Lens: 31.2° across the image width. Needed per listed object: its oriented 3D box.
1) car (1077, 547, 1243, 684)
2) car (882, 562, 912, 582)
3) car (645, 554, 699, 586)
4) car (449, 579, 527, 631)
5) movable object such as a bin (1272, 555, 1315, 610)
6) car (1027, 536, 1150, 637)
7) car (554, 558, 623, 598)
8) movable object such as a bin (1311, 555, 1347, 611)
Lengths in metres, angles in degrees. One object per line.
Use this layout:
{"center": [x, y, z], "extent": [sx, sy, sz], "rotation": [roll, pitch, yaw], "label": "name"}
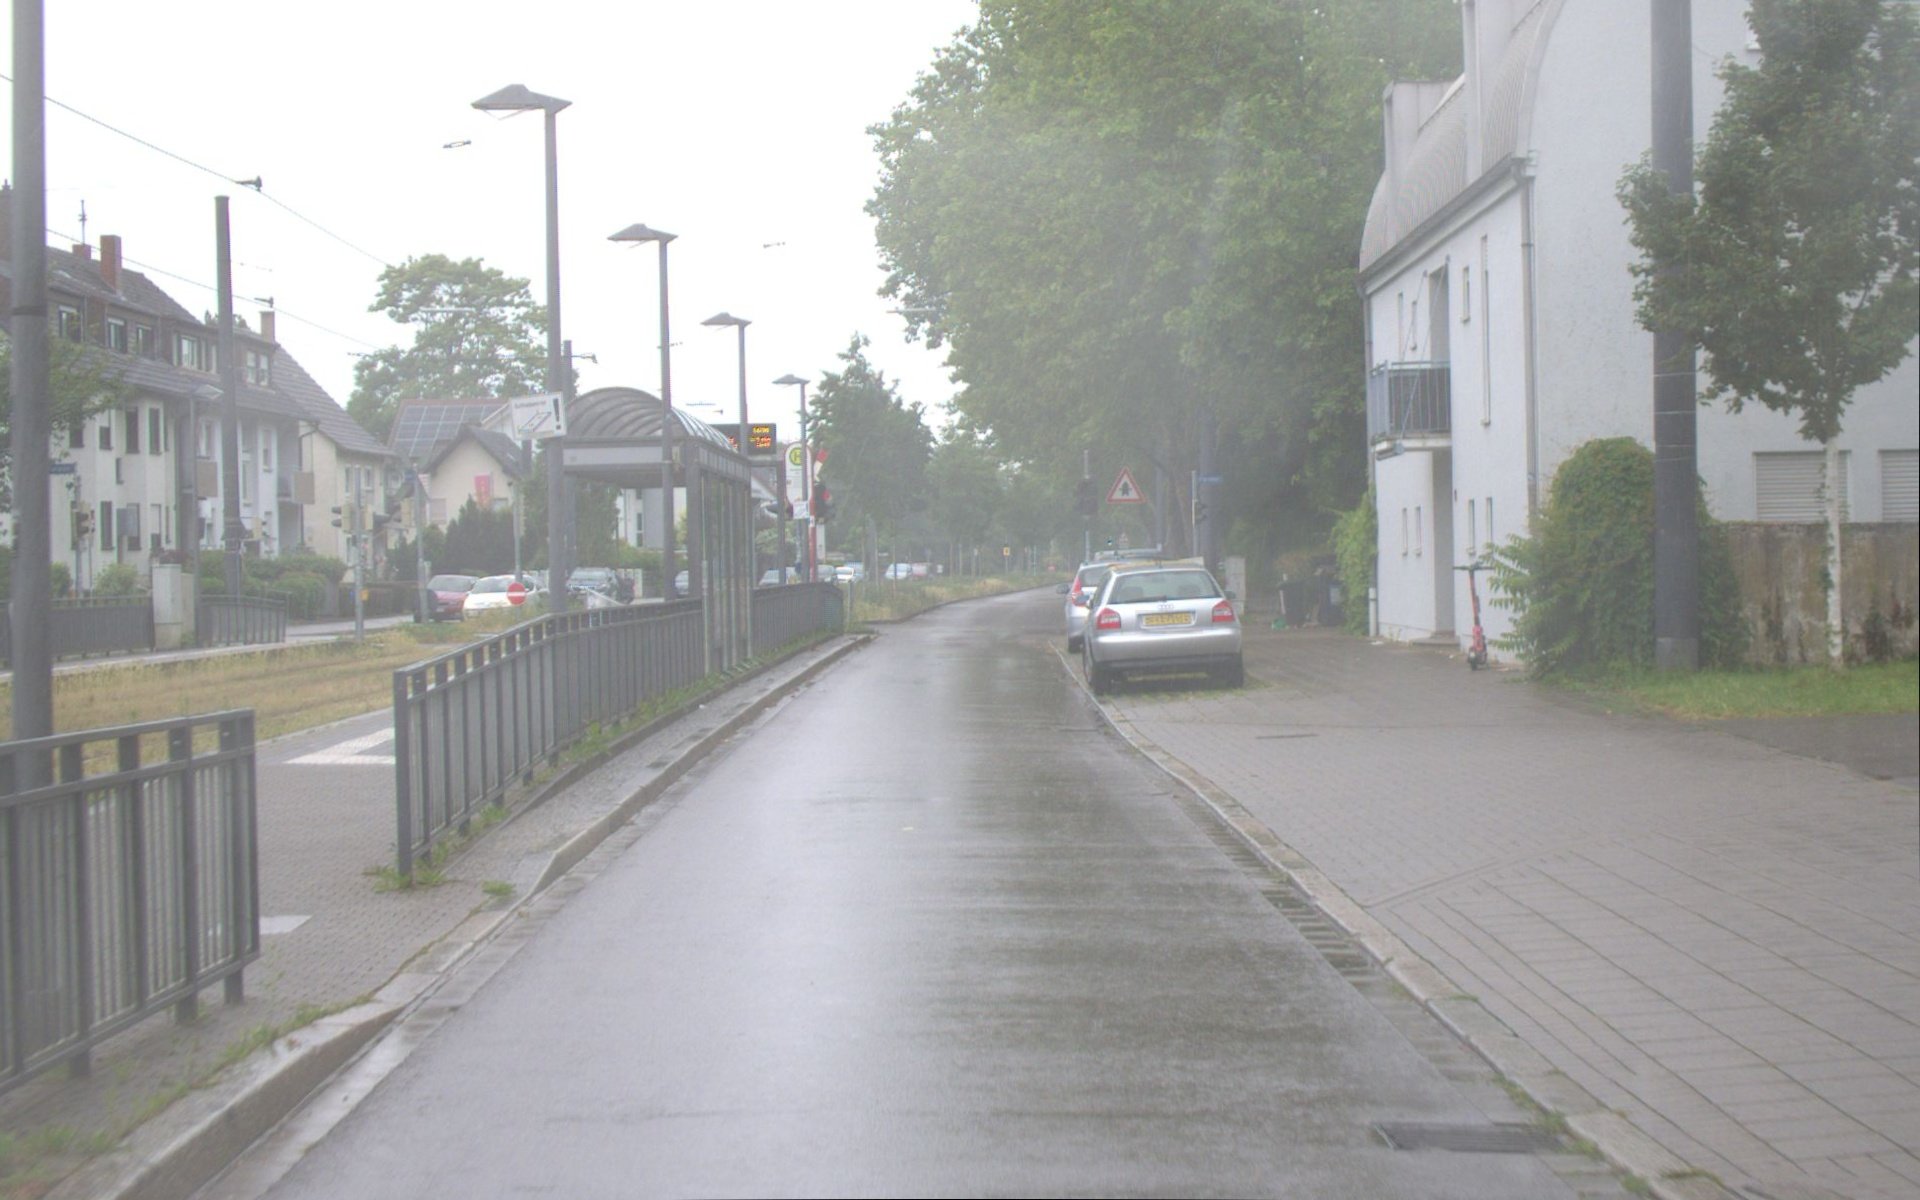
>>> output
{"center": [2.289, 0.168, 40.399], "extent": [1.650, 1.400, 4.649], "rotation": [-4, 0, 1], "label": "car"}
{"center": [-4.712, -2.080, 257.407], "extent": [1.928, 1.481, 3.999], "rotation": [0, 0, 4], "label": "car"}
{"center": [-13.282, -1.369, 158.845], "extent": [1.928, 1.481, 3.999], "rotation": [0, 0, 4], "label": "car"}
{"center": [-13.783, 0.146, 100.553], "extent": [1.633, 1.488, 4.000], "rotation": [0, 0, 1], "label": "car"}
{"center": [6.370, -0.332, 65.721], "extent": [0.692, 1.018, 0.824], "rotation": [-3, 0, 0], "label": "movable object such as a bin"}
{"center": [2.061, -0.215, 56.078], "extent": [1.807, 1.462, 3.794], "rotation": [-4, 0, 1], "label": "car"}
{"center": [-13.967, -0.831, 129.501], "extent": [1.928, 1.481, 3.999], "rotation": [0, 0, 4], "label": "car"}
{"center": [6.981, -0.326, 65.034], "extent": [0.536, 1.018, 0.739], "rotation": [-3, 0, 0], "label": "movable object such as a bin"}
